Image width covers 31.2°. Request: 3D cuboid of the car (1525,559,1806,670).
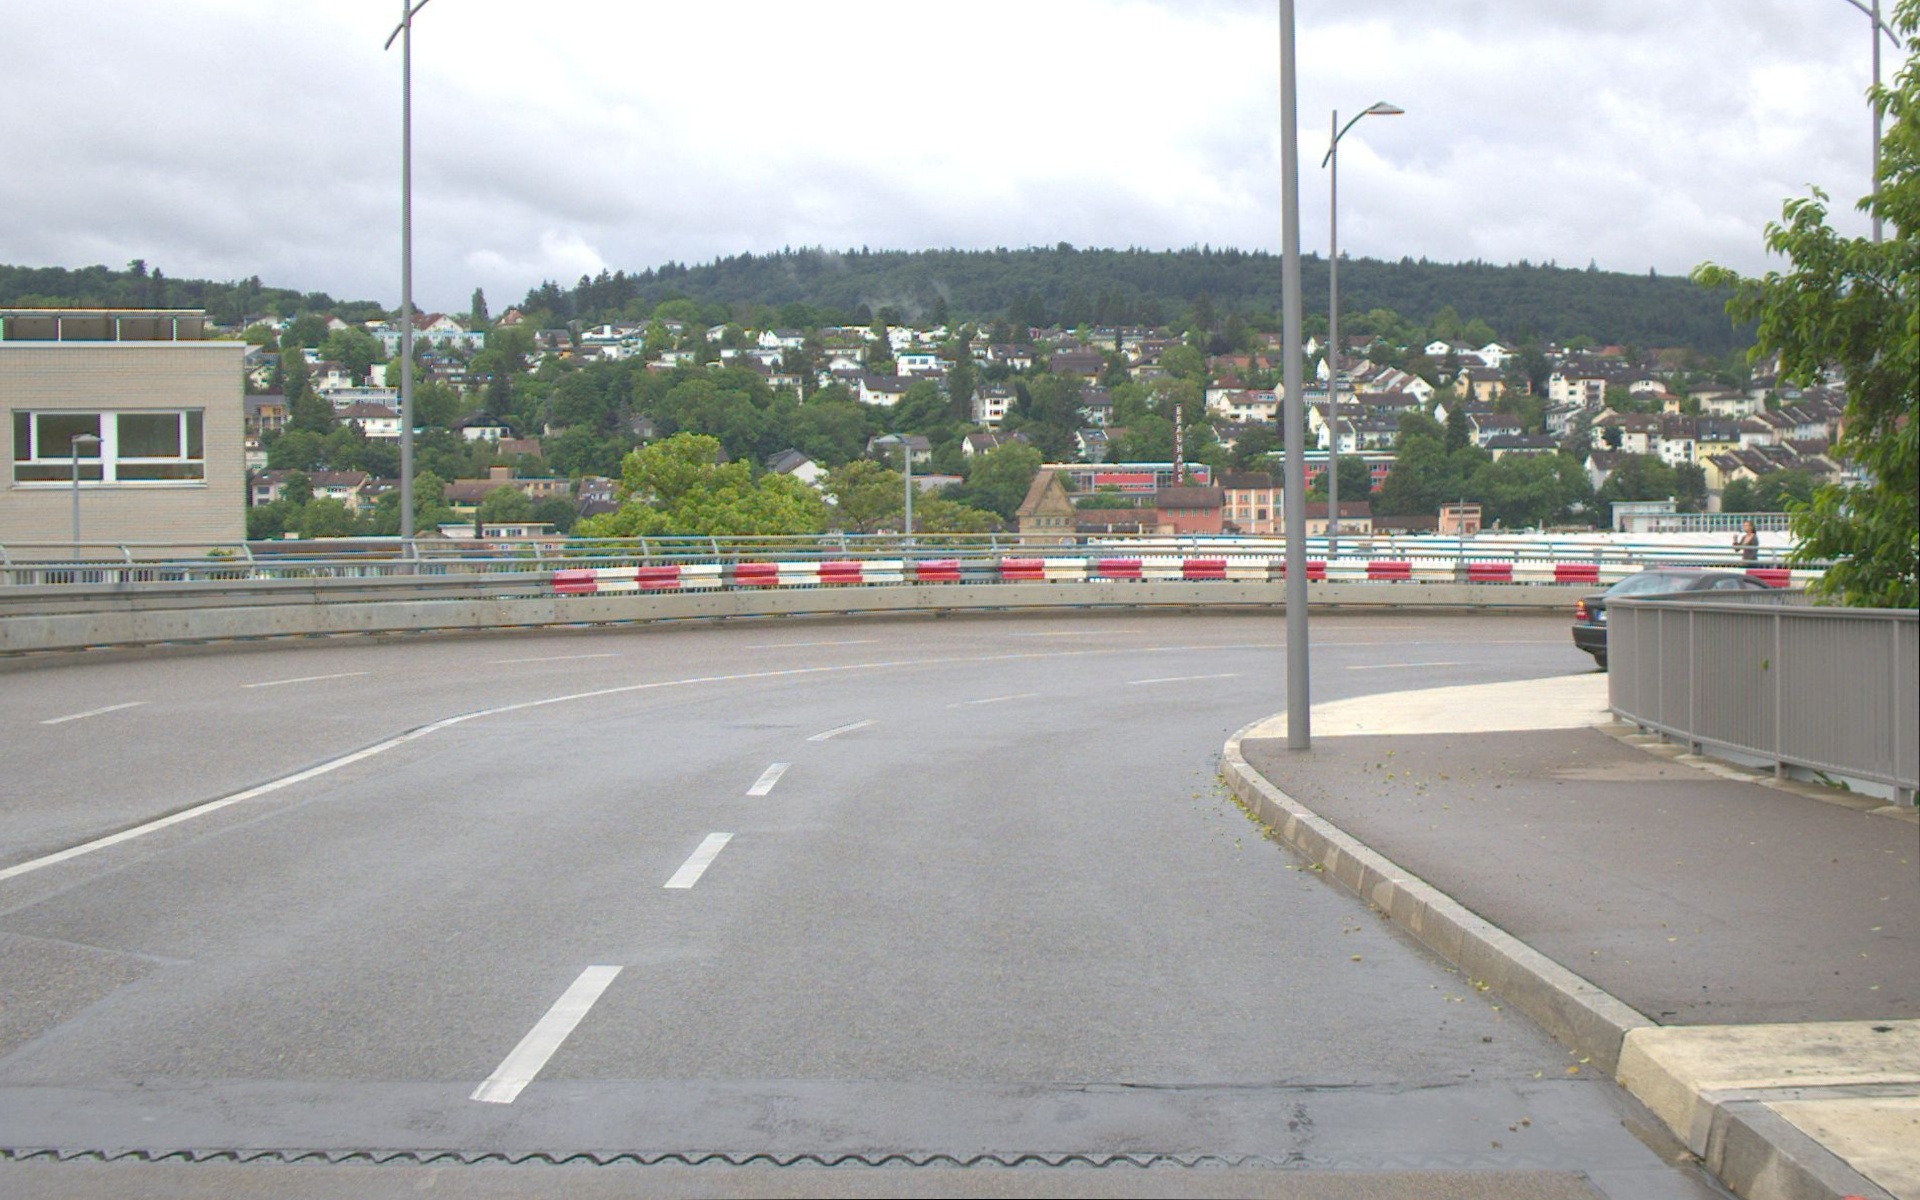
[{"bbox_3d":[9.575,0.179,46.578,3.714,1.415,1.711,0,1,-38],"label":"car"}]
